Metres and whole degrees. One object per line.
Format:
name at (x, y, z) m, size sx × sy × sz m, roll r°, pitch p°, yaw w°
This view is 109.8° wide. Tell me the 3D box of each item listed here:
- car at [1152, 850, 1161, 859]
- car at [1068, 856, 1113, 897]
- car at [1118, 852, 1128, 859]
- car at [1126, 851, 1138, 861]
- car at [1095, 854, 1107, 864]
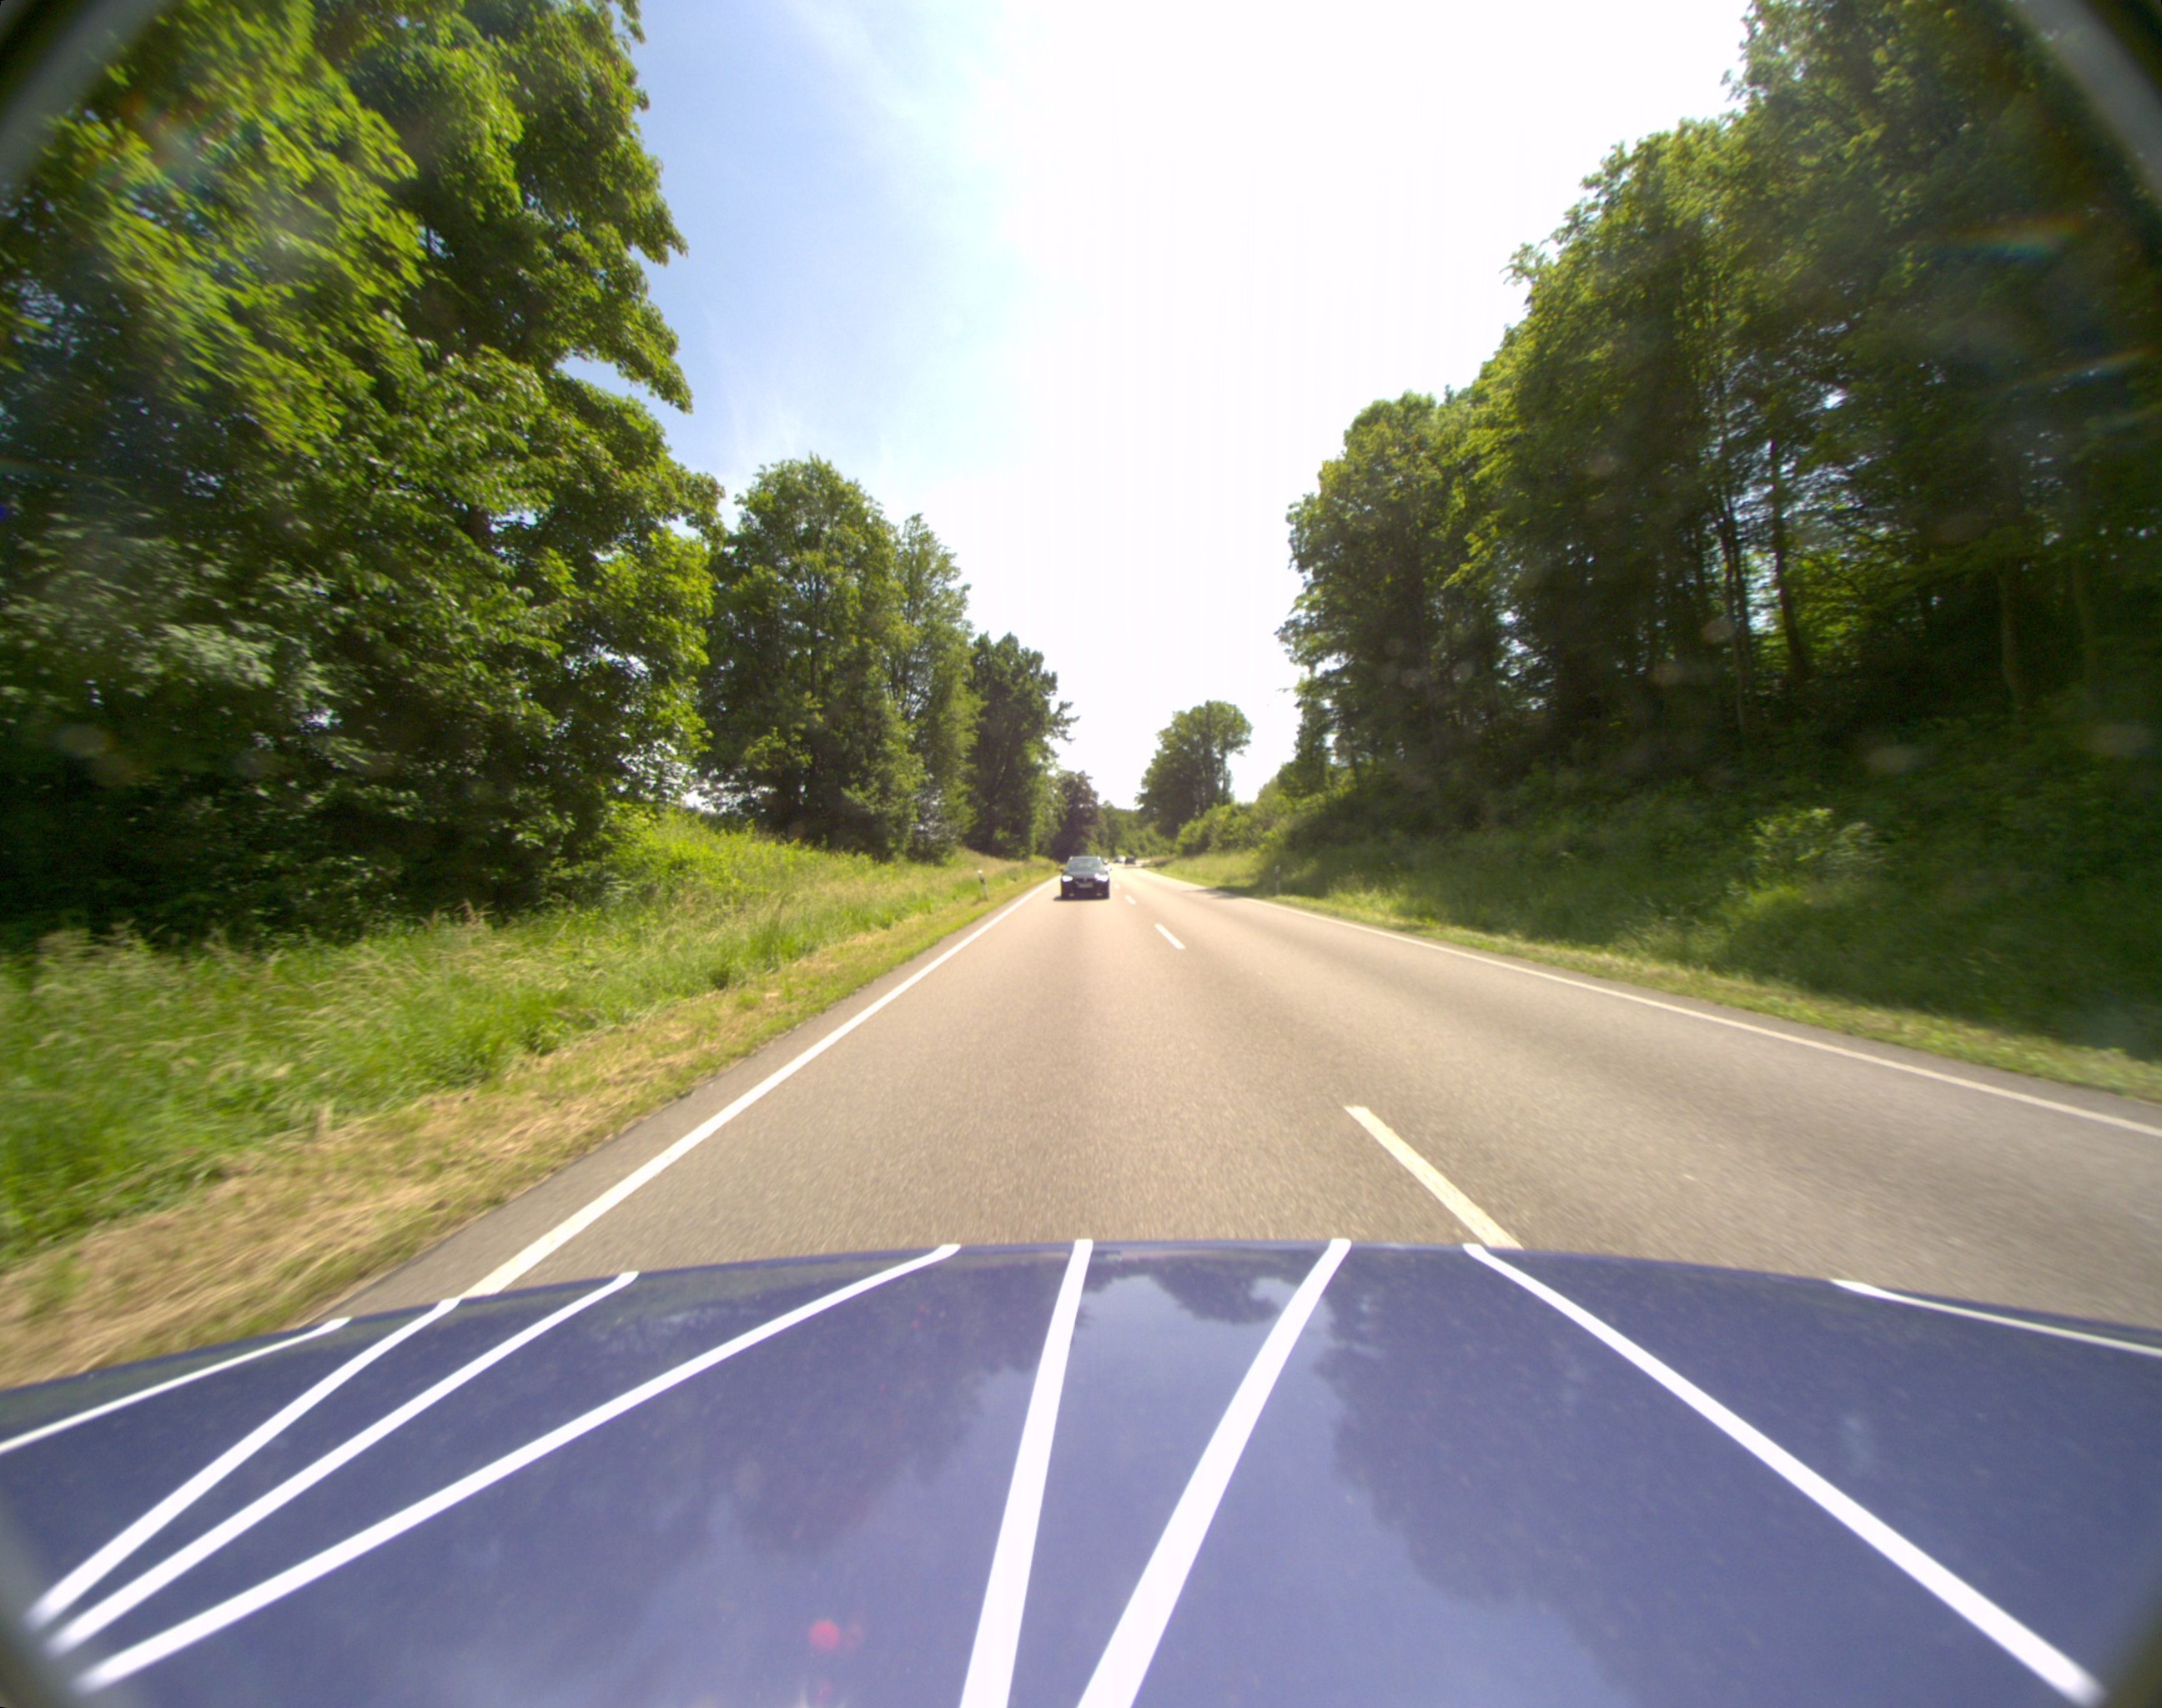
car at (17.299, 0.199, 174.935) m, size 1.998 × 2.002 × 4.002 m, roll -1°, pitch 0°, yaw 6°
car at (0.406, 0.848, 30.365) m, size 1.661 × 1.531 × 3.487 m, roll -1°, pitch 0°, yaw 2°
car at (9.010, 0.318, 163.100) m, size 1.811 × 1.580 × 4.002 m, roll -1°, pitch 0°, yaw 8°
car at (8.683, 0.358, 129.359) m, size 1.776 × 1.561 × 4.218 m, roll 0°, pitch 0°, yaw 1°
car at (3.453, 0.866, 129.736) m, size 1.811 × 1.580 × 4.001 m, roll -1°, pitch 0°, yaw 5°
